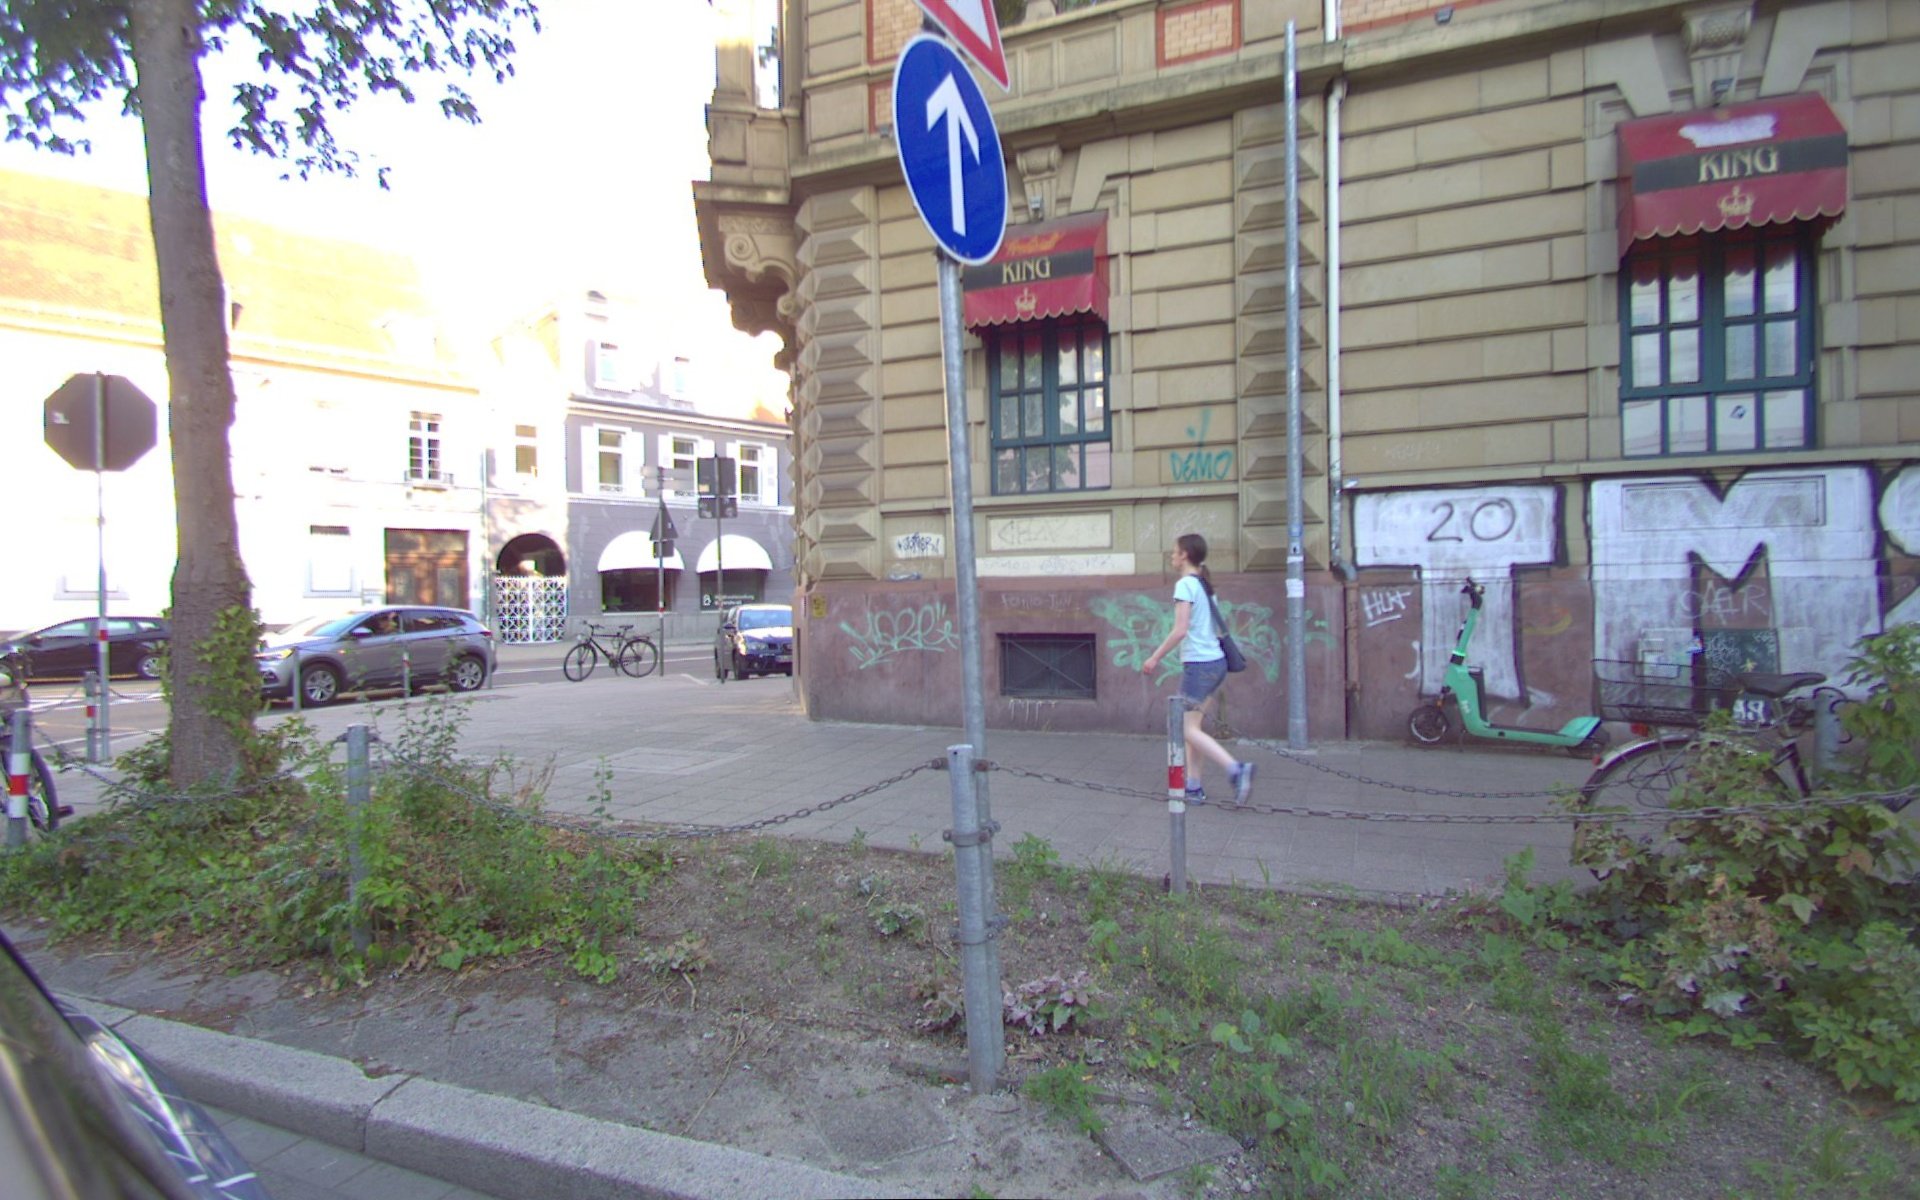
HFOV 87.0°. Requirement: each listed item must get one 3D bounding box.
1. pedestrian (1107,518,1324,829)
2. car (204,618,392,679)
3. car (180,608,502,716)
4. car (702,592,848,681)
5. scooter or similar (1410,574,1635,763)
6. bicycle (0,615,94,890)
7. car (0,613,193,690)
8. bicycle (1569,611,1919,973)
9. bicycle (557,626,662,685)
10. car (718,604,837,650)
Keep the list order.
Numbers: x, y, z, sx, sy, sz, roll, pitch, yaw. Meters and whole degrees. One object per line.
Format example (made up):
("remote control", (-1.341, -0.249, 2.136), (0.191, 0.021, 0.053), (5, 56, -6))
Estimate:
("pedestrian", (1.422, 0.364, 5.674), (0.644, 1.576, 0.907), (-4, 2, -44))
("car", (-16.694, 1.175, 25.591), (3.758, 1.335, 1.836), (-1, 0, -42))
("car", (-10.329, 0.929, 17.251), (1.939, 1.582, 4.318), (0, 0, 28))
("car", (-3.613, 0.736, 19.078), (1.857, 1.441, 4.373), (-1, -3, -22))
("scooter or similar", (3.810, 0.463, 6.935), (1.265, 1.207, 0.382), (-3, 1, 24))
("bicycle", (-5.297, 0.752, 5.454), (0.795, 1.234, 2.420), (-6, 2, -42))
("car", (-19.822, 1.112, 22.532), (4.206, 1.541, 1.835), (-1, 0, -43))
("bicycle", (3.143, 0.610, 3.409), (1.785, 1.116, 0.497), (-1, 2, 18))
("bicycle", (-6.393, 1.007, 18.482), (1.733, 0.979, 0.539), (-1, -3, -28))
("car", (-6.467, 0.912, 35.992), (3.758, 1.502, 1.836), (-1, 0, -42))
